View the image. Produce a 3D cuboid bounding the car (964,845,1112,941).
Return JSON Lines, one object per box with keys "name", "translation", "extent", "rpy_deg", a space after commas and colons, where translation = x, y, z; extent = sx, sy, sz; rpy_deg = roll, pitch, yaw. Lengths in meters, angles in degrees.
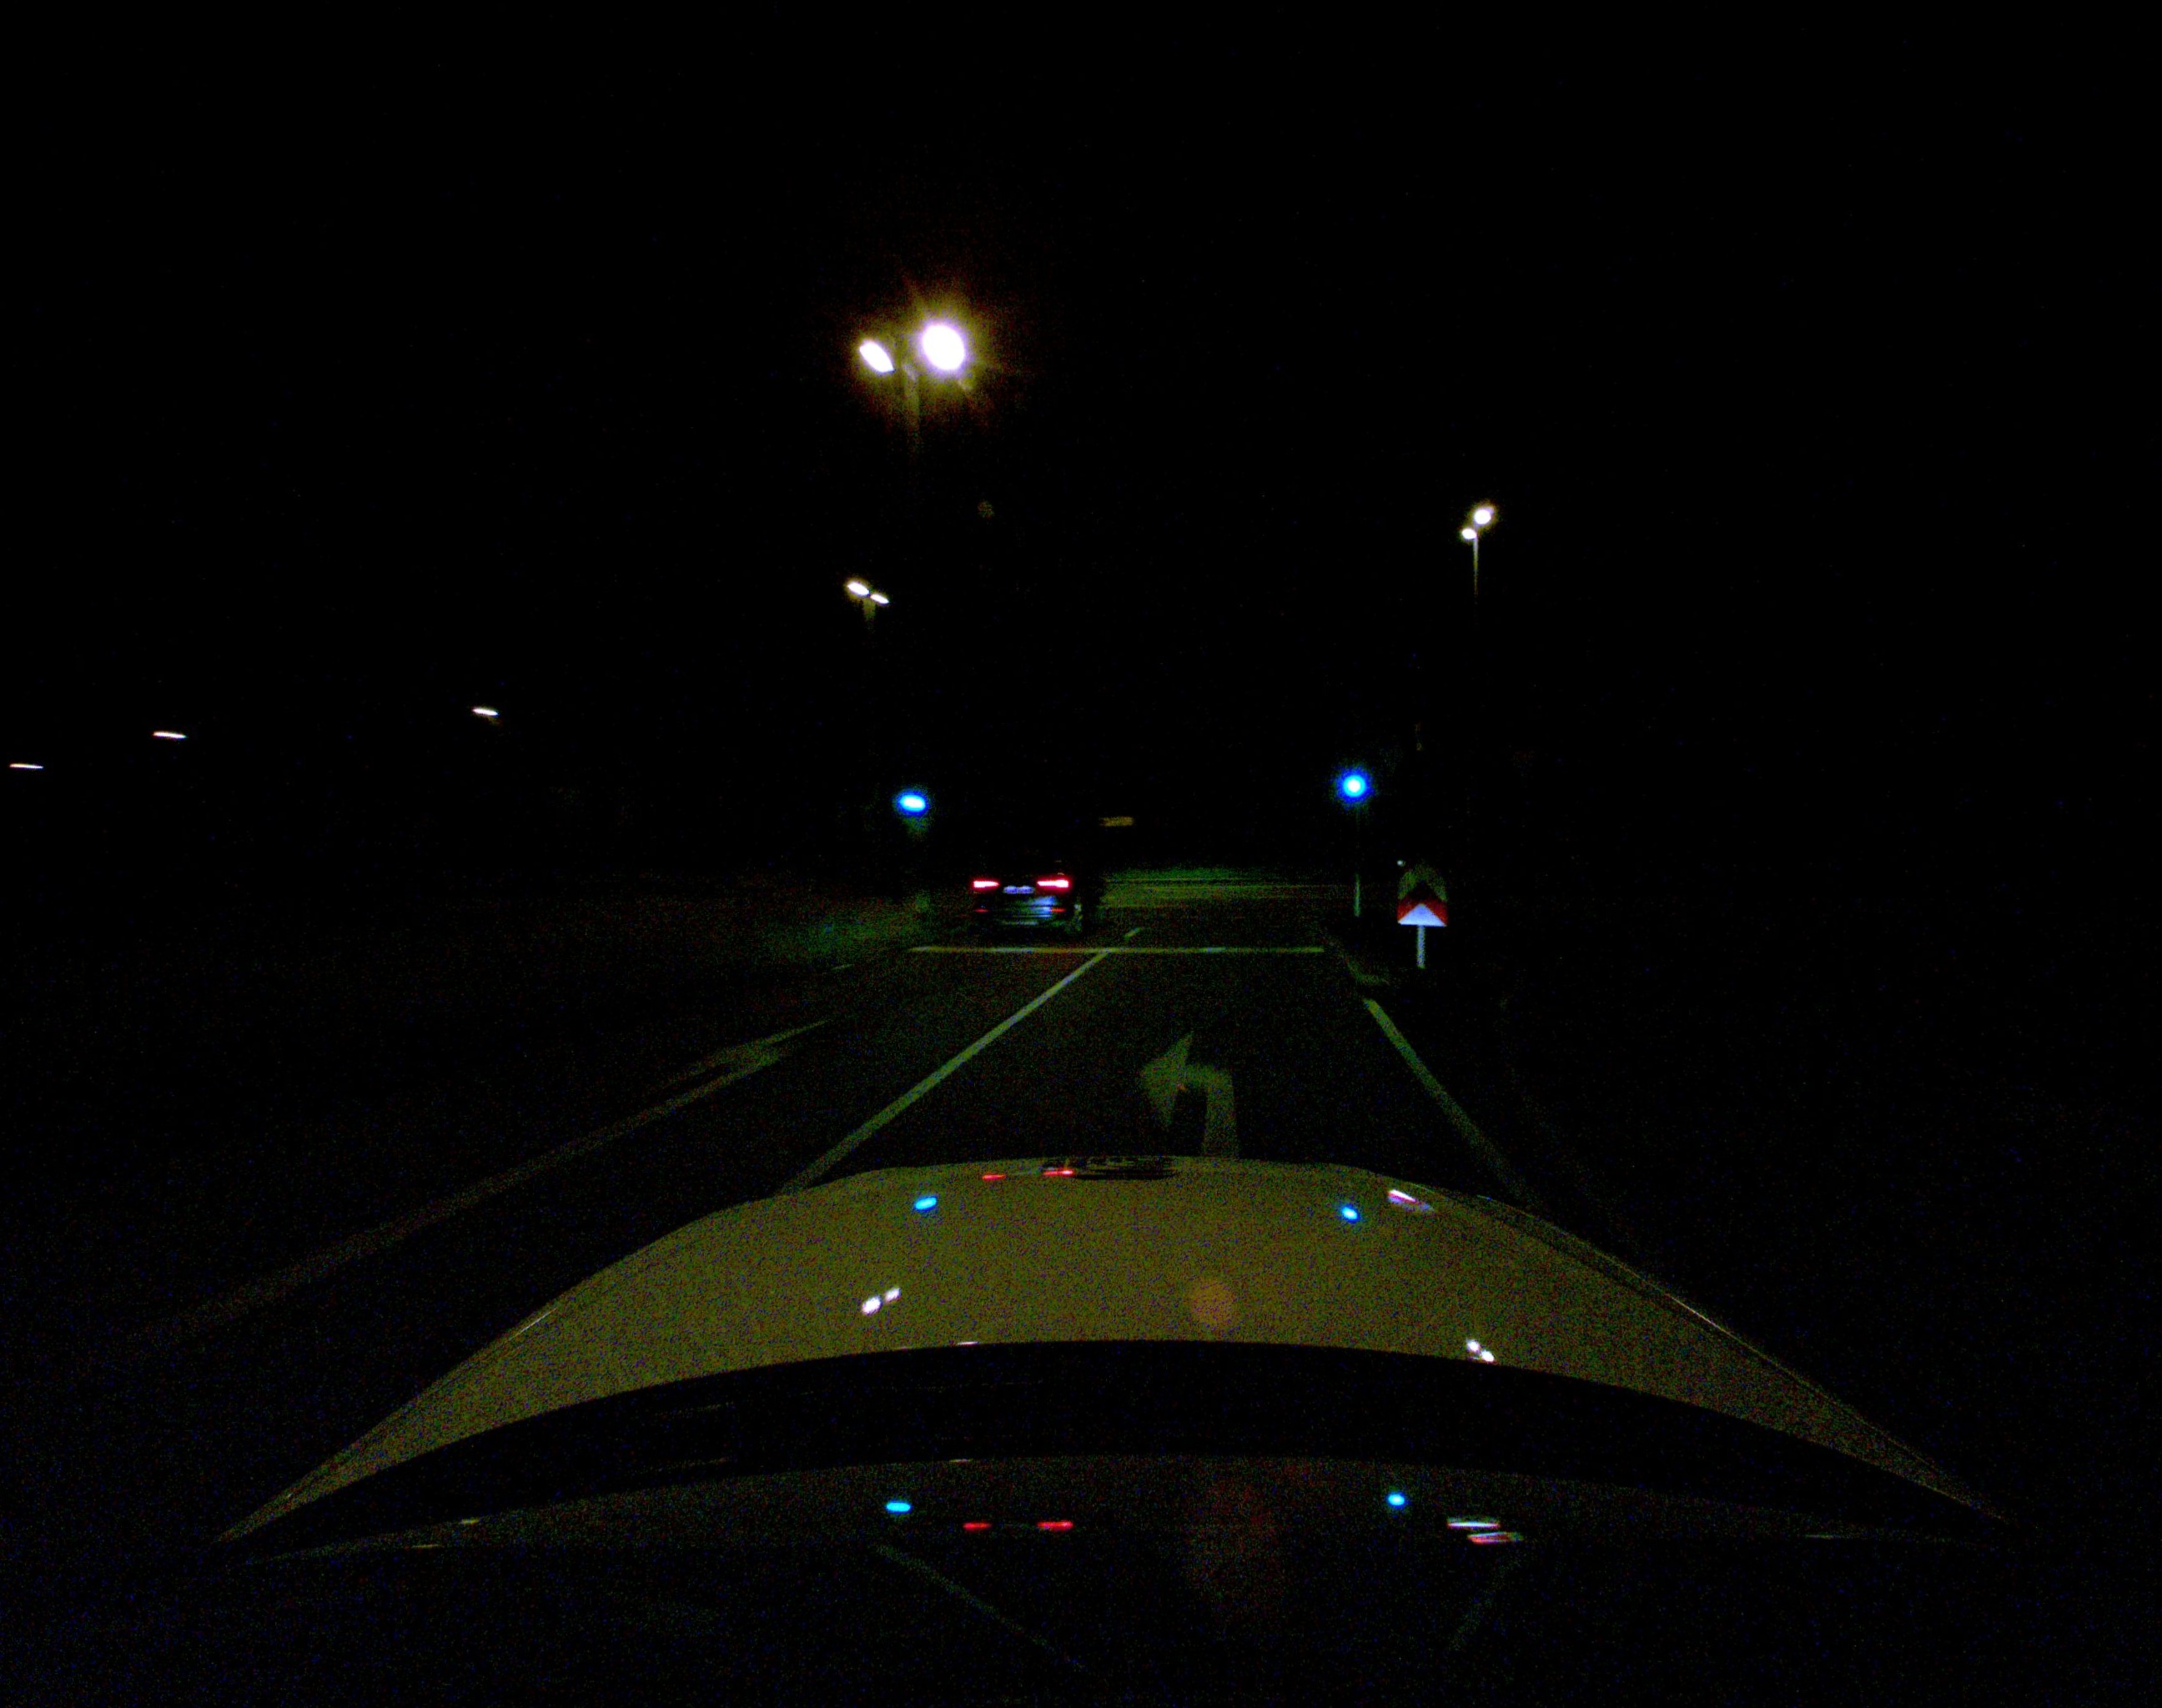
{"name": "car", "translation": [-0.658, 0.627, 15.568], "extent": [1.839, 1.582, 4.020], "rpy_deg": [0, 0, 12]}
